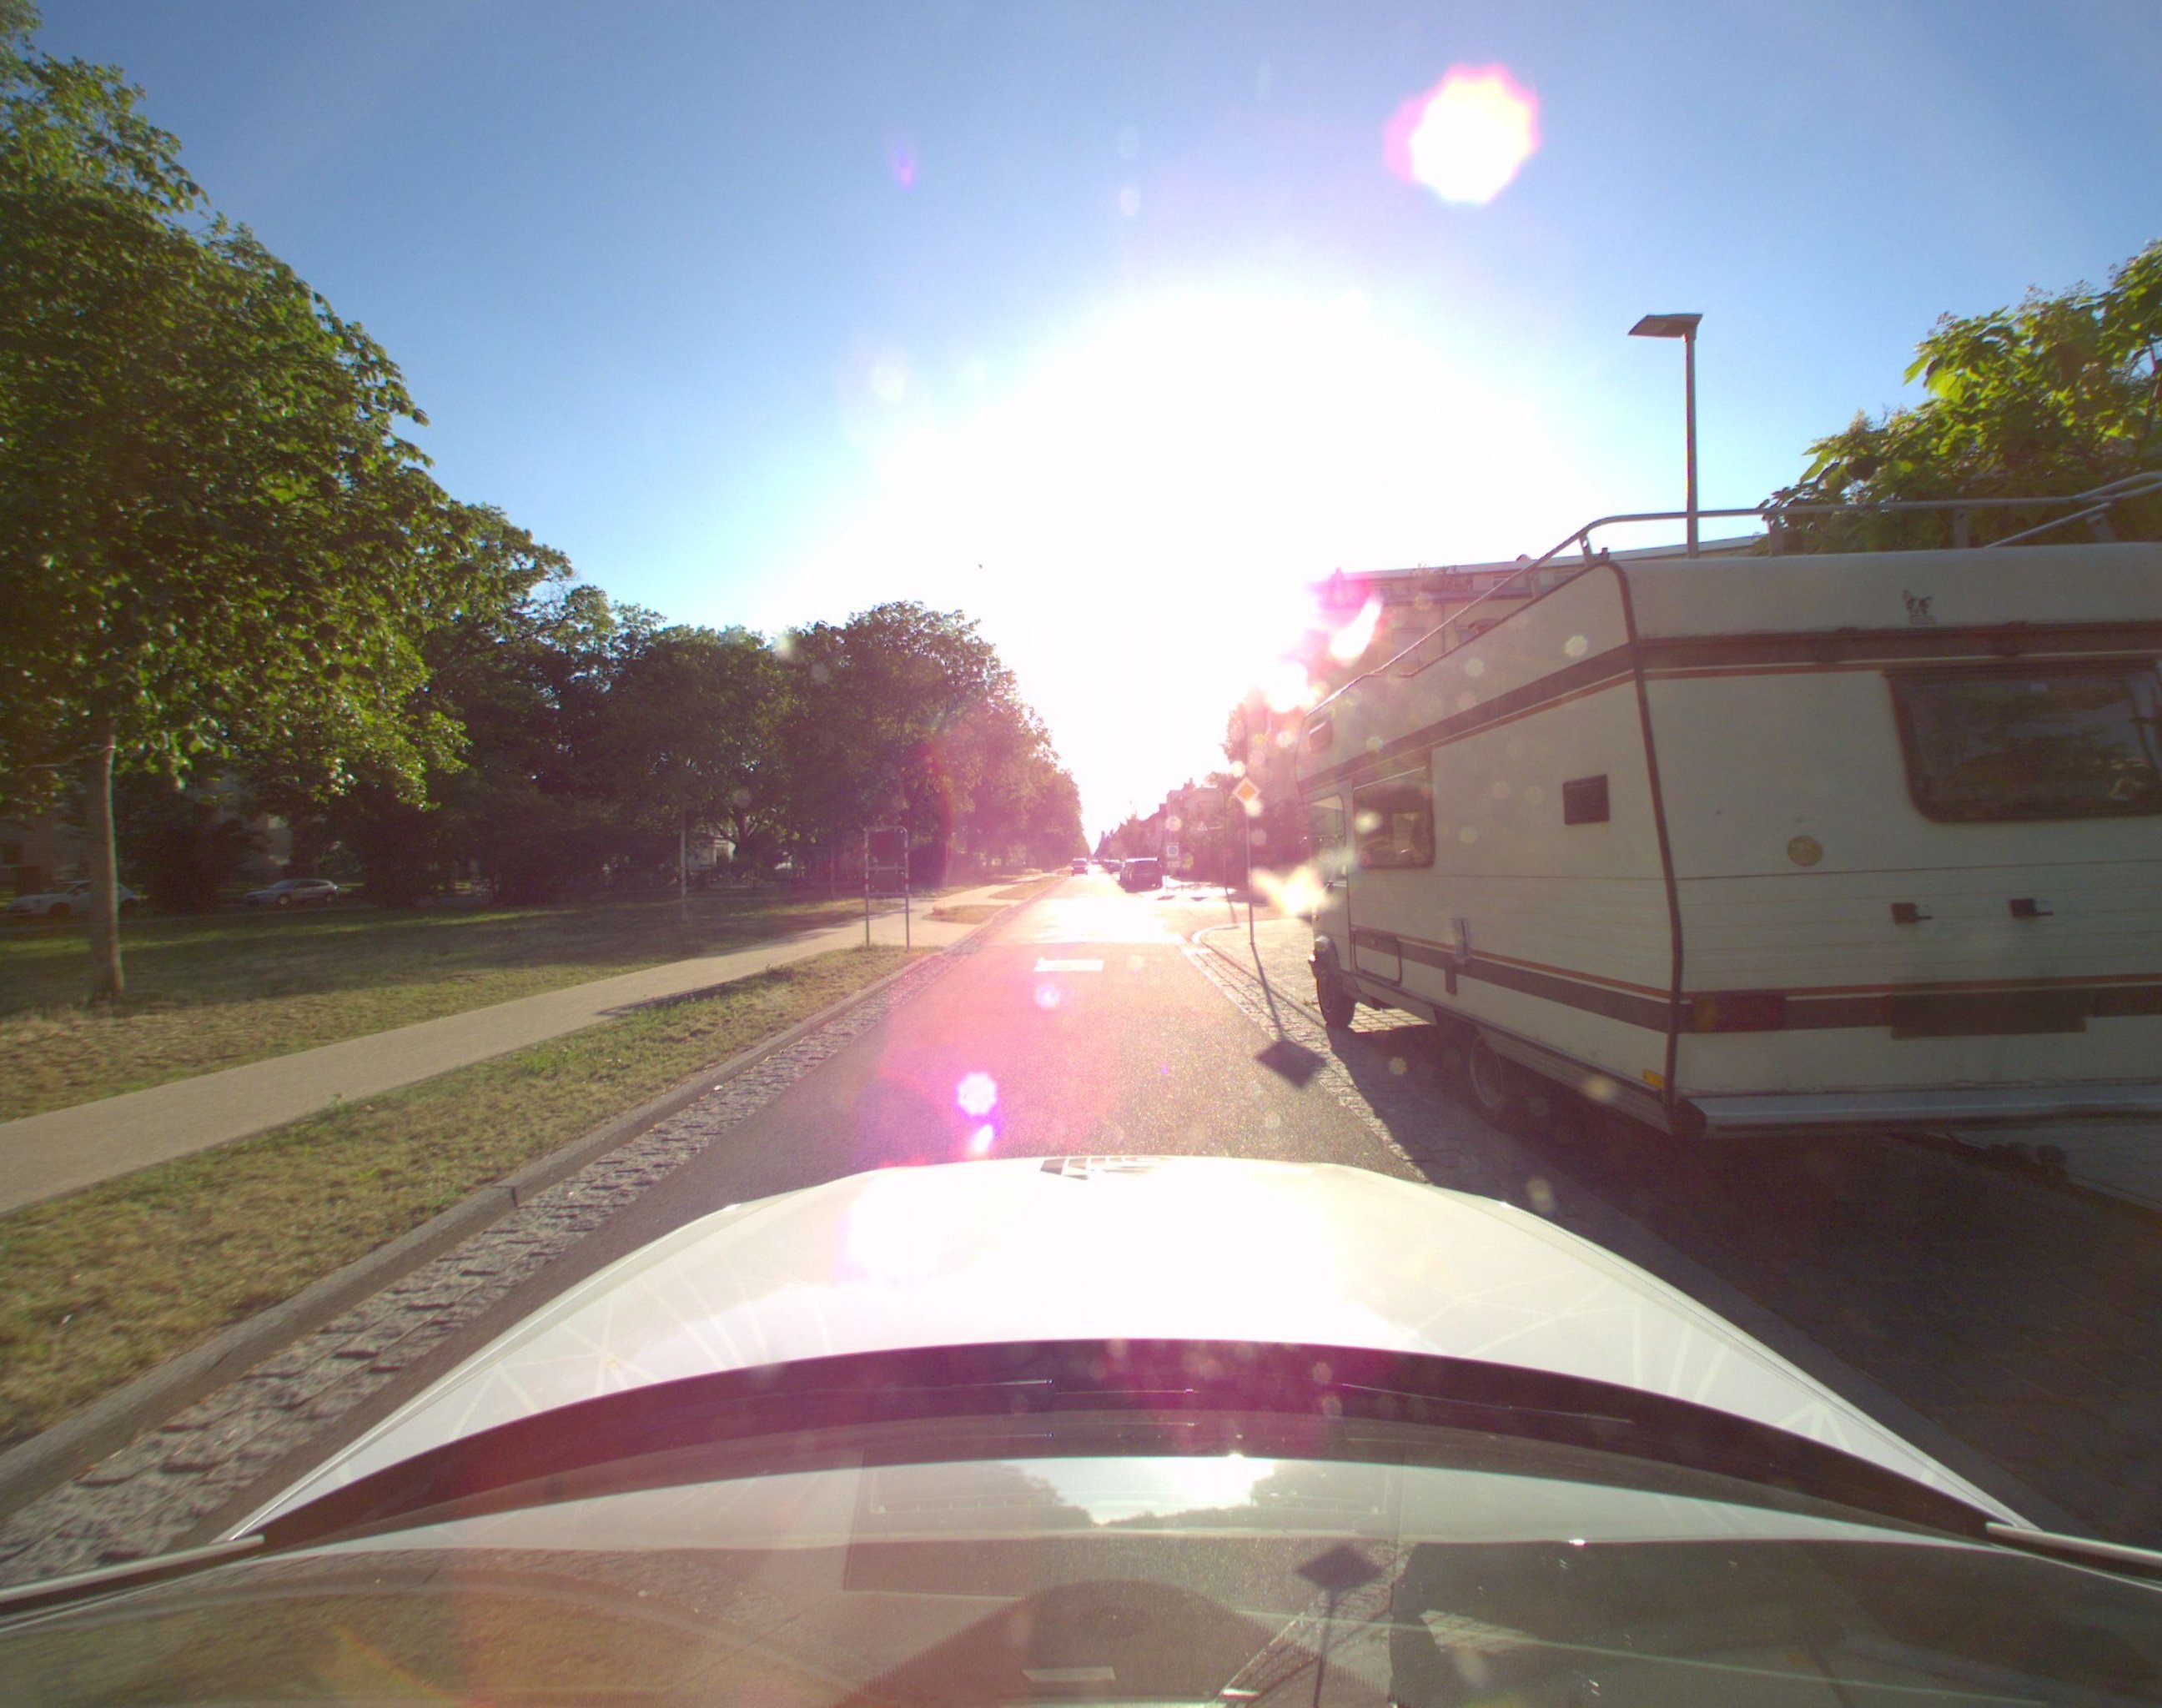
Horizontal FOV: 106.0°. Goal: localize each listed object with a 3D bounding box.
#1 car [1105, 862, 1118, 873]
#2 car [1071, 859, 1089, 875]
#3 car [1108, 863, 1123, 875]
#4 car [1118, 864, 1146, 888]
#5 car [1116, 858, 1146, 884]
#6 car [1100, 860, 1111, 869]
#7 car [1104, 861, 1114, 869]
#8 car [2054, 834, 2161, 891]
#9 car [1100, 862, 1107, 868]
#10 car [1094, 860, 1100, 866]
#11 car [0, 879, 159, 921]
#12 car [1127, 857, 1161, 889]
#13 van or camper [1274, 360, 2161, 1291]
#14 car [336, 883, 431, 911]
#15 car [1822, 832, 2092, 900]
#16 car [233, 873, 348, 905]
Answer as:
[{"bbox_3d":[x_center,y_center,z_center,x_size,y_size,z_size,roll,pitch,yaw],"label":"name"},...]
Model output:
[{"bbox_3d":[4.196,1.879,111.766,1.621,1.410,4.249,-2,-1,1],"label":"car"},{"bbox_3d":[-0.071,1.483,90.019,1.819,1.669,4.249,-2,-1,0],"label":"car"},{"bbox_3d":[4.259,1.794,100.397,1.621,1.410,4.249,-2,-1,1],"label":"car"},{"bbox_3d":[3.931,1.667,62.792,1.985,1.717,4.004,-2,-1,4],"label":"car"},{"bbox_3d":[3.583,1.201,57.825,1.985,1.717,4.004,-2,-1,4],"label":"car"},{"bbox_3d":[3.948,1.767,131.772,1.621,1.410,4.249,-2,-1,1],"label":"car"},{"bbox_3d":[5.102,1.997,148.141,1.621,1.410,4.249,-2,-1,1],"label":"car"},{"bbox_3d":[31.366,0.196,23.094,4.474,1.569,1.890,-2,-1,19],"label":"car"},{"bbox_3d":[5.579,2.825,199.907,1.621,1.410,4.249,-2,-1,1],"label":"car"},{"bbox_3d":[4.646,2.670,241.885,1.621,1.669,4.249,-2,-1,1],"label":"car"},{"bbox_3d":[-41.600,1.870,33.747,1.986,1.508,4.116,-2,-1,2],"label":"car"},{"bbox_3d":[3.583,1.071,46.795,1.621,1.669,4.249,-2,-1,1],"label":"car"},{"bbox_3d":[3.085,-0.046,5.414,2.226,2.904,5.672,-2,-2,0],"label":"van or camper"},{"bbox_3d":[-41.487,2.531,48.585,1.986,1.508,4.116,-2,-1,2],"label":"car"},{"bbox_3d":[21.075,0.311,19.810,4.163,1.463,1.700,-2,-1,16],"label":"car"},{"bbox_3d":[-41.614,1.828,43.006,1.986,1.508,4.116,-2,-1,2],"label":"car"}]
